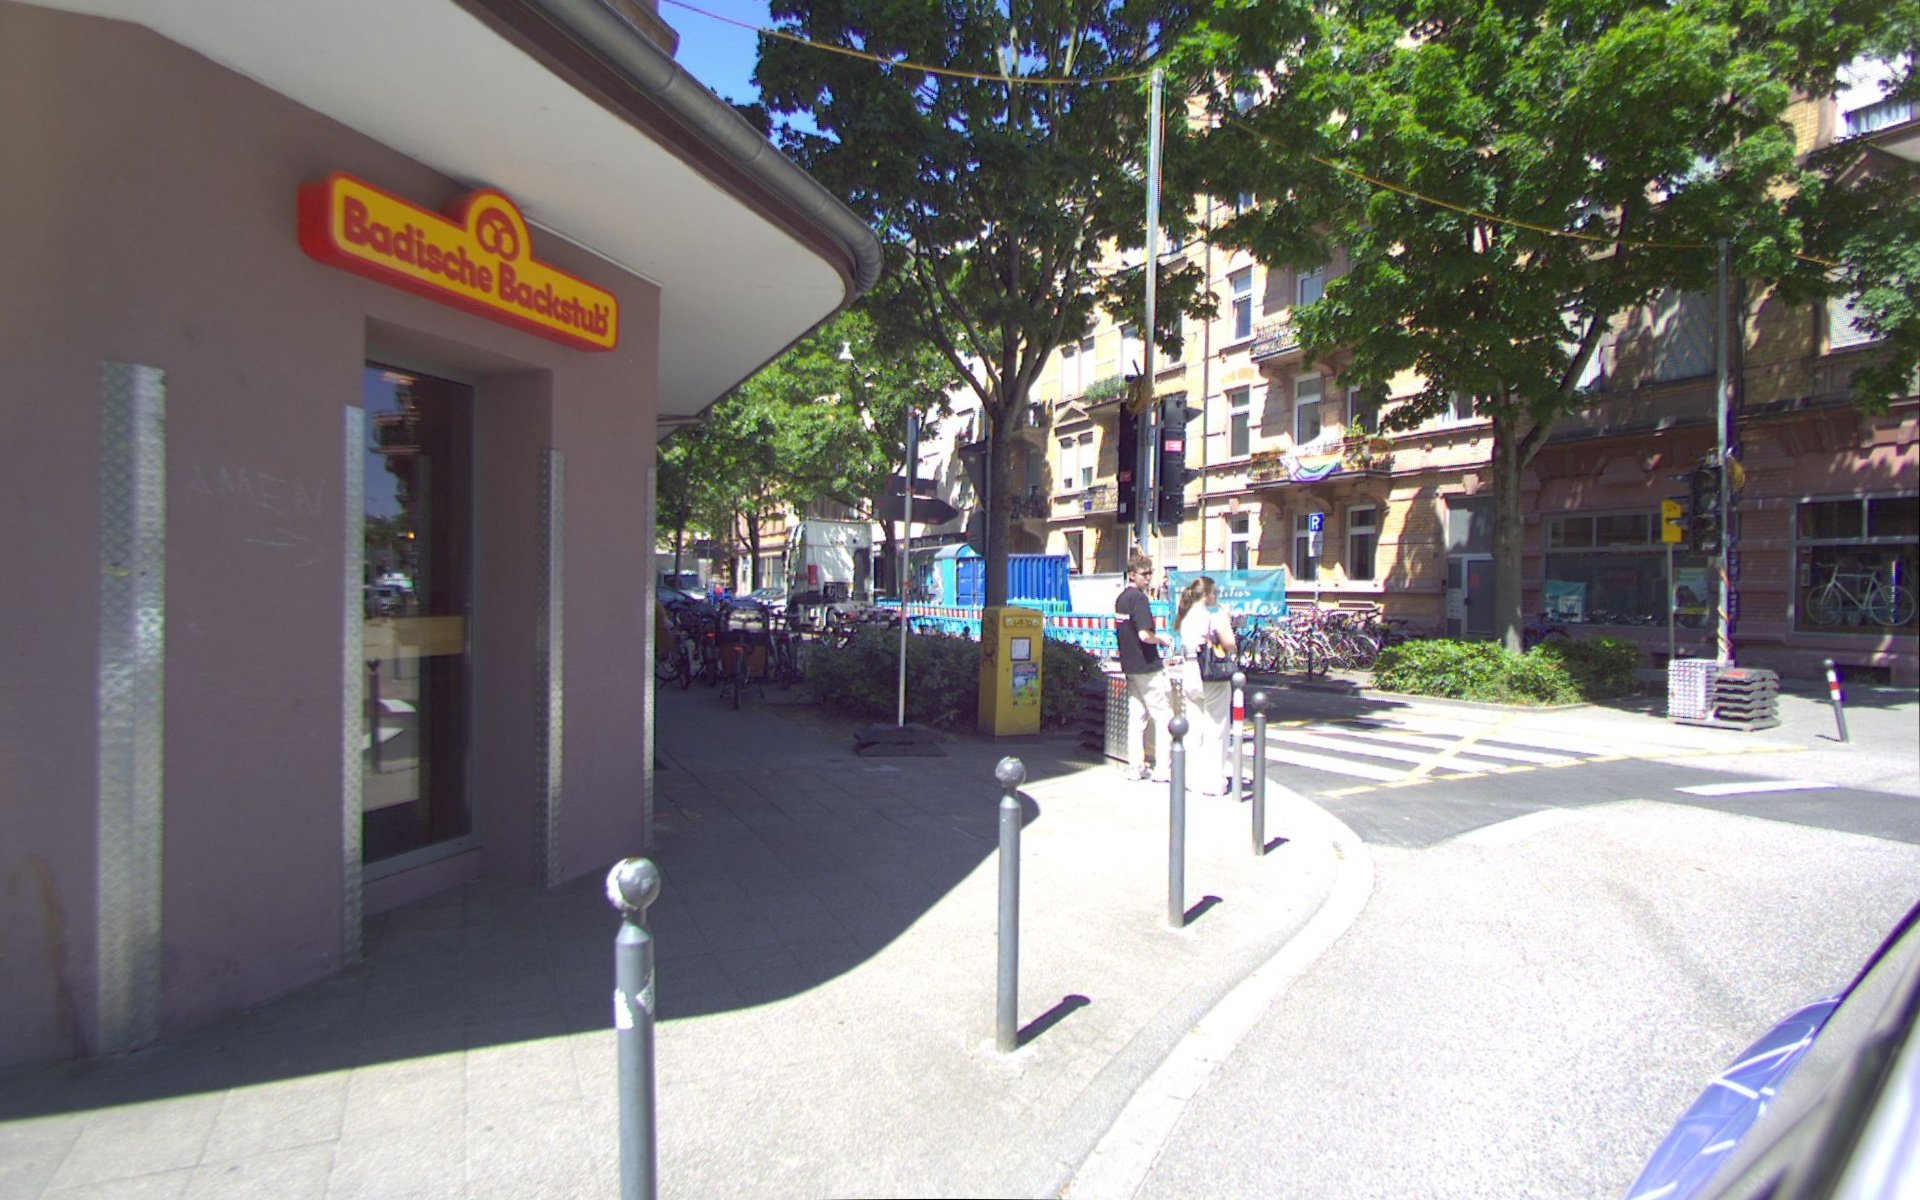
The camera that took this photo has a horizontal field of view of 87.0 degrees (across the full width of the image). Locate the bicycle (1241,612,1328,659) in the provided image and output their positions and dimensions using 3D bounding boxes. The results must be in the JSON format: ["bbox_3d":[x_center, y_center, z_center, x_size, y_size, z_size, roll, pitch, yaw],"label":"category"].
[{"bbox_3d":[6.778,0.721,21.257,0.498,0.883,2.079,0,1,-23],"label":"bicycle"}]

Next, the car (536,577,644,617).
[{"bbox_3d":[-14.600,-0.110,39.940,3.775,1.457,1.795,1,1,-29],"label":"car"}]

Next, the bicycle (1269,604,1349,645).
[{"bbox_3d":[8.151,0.555,23.736,0.498,0.883,2.079,0,1,-23],"label":"bicycle"}]

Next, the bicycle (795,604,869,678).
[{"bbox_3d":[-1.969,0.599,15.417,0.461,1.018,1.691,3,0,-30],"label":"bicycle"}]

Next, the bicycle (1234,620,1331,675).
[{"bbox_3d":[6.023,0.866,19.030,0.498,0.883,2.079,0,1,-23],"label":"bicycle"}]

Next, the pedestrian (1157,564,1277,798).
[{"bbox_3d":[1.931,0.580,7.643,0.414,1.666,0.704,4,-1,-35],"label":"pedestrian"}]

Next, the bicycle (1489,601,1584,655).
[{"bbox_3d":[11.735,0.546,20.654,0.512,1.020,1.699,0,1,-26],"label":"bicycle"}]

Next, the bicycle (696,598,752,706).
[{"bbox_3d":[-2.776,0.564,12.028,0.506,1.146,1.990,1,1,-9],"label":"bicycle"}]

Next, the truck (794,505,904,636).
[{"bbox_3d":[-3.764,-0.948,33.416,2.241,4.004,4.485,0,1,-26],"label":"truck"}]

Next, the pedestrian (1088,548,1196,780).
[{"bbox_3d":[1.464,0.495,8.177,0.462,1.791,0.577,4,0,-35],"label":"pedestrian"}]

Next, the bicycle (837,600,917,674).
[{"bbox_3d":[-1.280,0.534,15.301,0.461,1.009,1.768,3,0,-30],"label":"bicycle"}]

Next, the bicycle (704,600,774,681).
[{"bbox_3d":[-3.341,0.581,15.193,0.461,1.094,1.768,3,0,-30],"label":"bicycle"}]

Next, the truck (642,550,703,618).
[{"bbox_3d":[-13.018,-0.724,45.625,1.959,2.892,4.276,0,1,-25],"label":"truck"}]

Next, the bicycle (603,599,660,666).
[{"bbox_3d":[-5.417,0.518,16.623,0.494,1.009,1.731,3,0,-30],"label":"bicycle"}]

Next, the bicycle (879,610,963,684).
[{"bbox_3d":[-0.617,0.683,15.296,0.461,1.009,1.768,3,0,-30],"label":"bicycle"}]

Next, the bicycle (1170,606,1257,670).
[{"bbox_3d":[4.876,0.702,19.582,0.499,1.120,1.786,-2,2,-33],"label":"bicycle"}]

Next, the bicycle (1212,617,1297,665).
[{"bbox_3d":[6.104,0.832,21.098,0.498,0.883,2.079,0,1,-23],"label":"bicycle"}]

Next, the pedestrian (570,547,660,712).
[{"bbox_3d":[-3.667,0.289,10.738,0.771,1.654,0.860,1,1,-27],"label":"pedestrian"}]

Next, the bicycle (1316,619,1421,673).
[{"bbox_3d":[7.608,0.833,18.944,0.498,0.883,2.079,0,1,-23],"label":"bicycle"}]

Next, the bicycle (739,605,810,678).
[{"bbox_3d":[-2.875,0.612,15.578,0.461,1.009,1.768,3,0,-30],"label":"bicycle"}]

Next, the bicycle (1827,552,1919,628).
[{"bbox_3d":[14.660,-0.163,15.953,0.499,1.166,1.429,0,1,-24],"label":"bicycle"}]

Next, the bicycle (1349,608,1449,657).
[{"bbox_3d":[8.808,0.638,20.412,0.498,0.883,2.079,0,1,-23],"label":"bicycle"}]

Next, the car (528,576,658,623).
[{"bbox_3d":[-12.071,-0.020,33.333,3.775,1.457,1.795,1,1,-29],"label":"car"}]

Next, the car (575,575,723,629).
[{"bbox_3d":[-8.985,0.056,29.277,3.775,1.457,1.795,1,1,-29],"label":"car"}]

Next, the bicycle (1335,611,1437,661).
[{"bbox_3d":[8.338,0.681,19.892,0.498,0.883,2.079,0,1,-23],"label":"bicycle"}]

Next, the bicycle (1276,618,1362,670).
[{"bbox_3d":[6.816,0.816,19.311,0.498,0.883,1.749,0,1,-23],"label":"bicycle"}]

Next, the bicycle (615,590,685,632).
[{"bbox_3d":[-8.179,0.271,26.666,1.918,1.059,0.539,1,1,26],"label":"bicycle"}]
